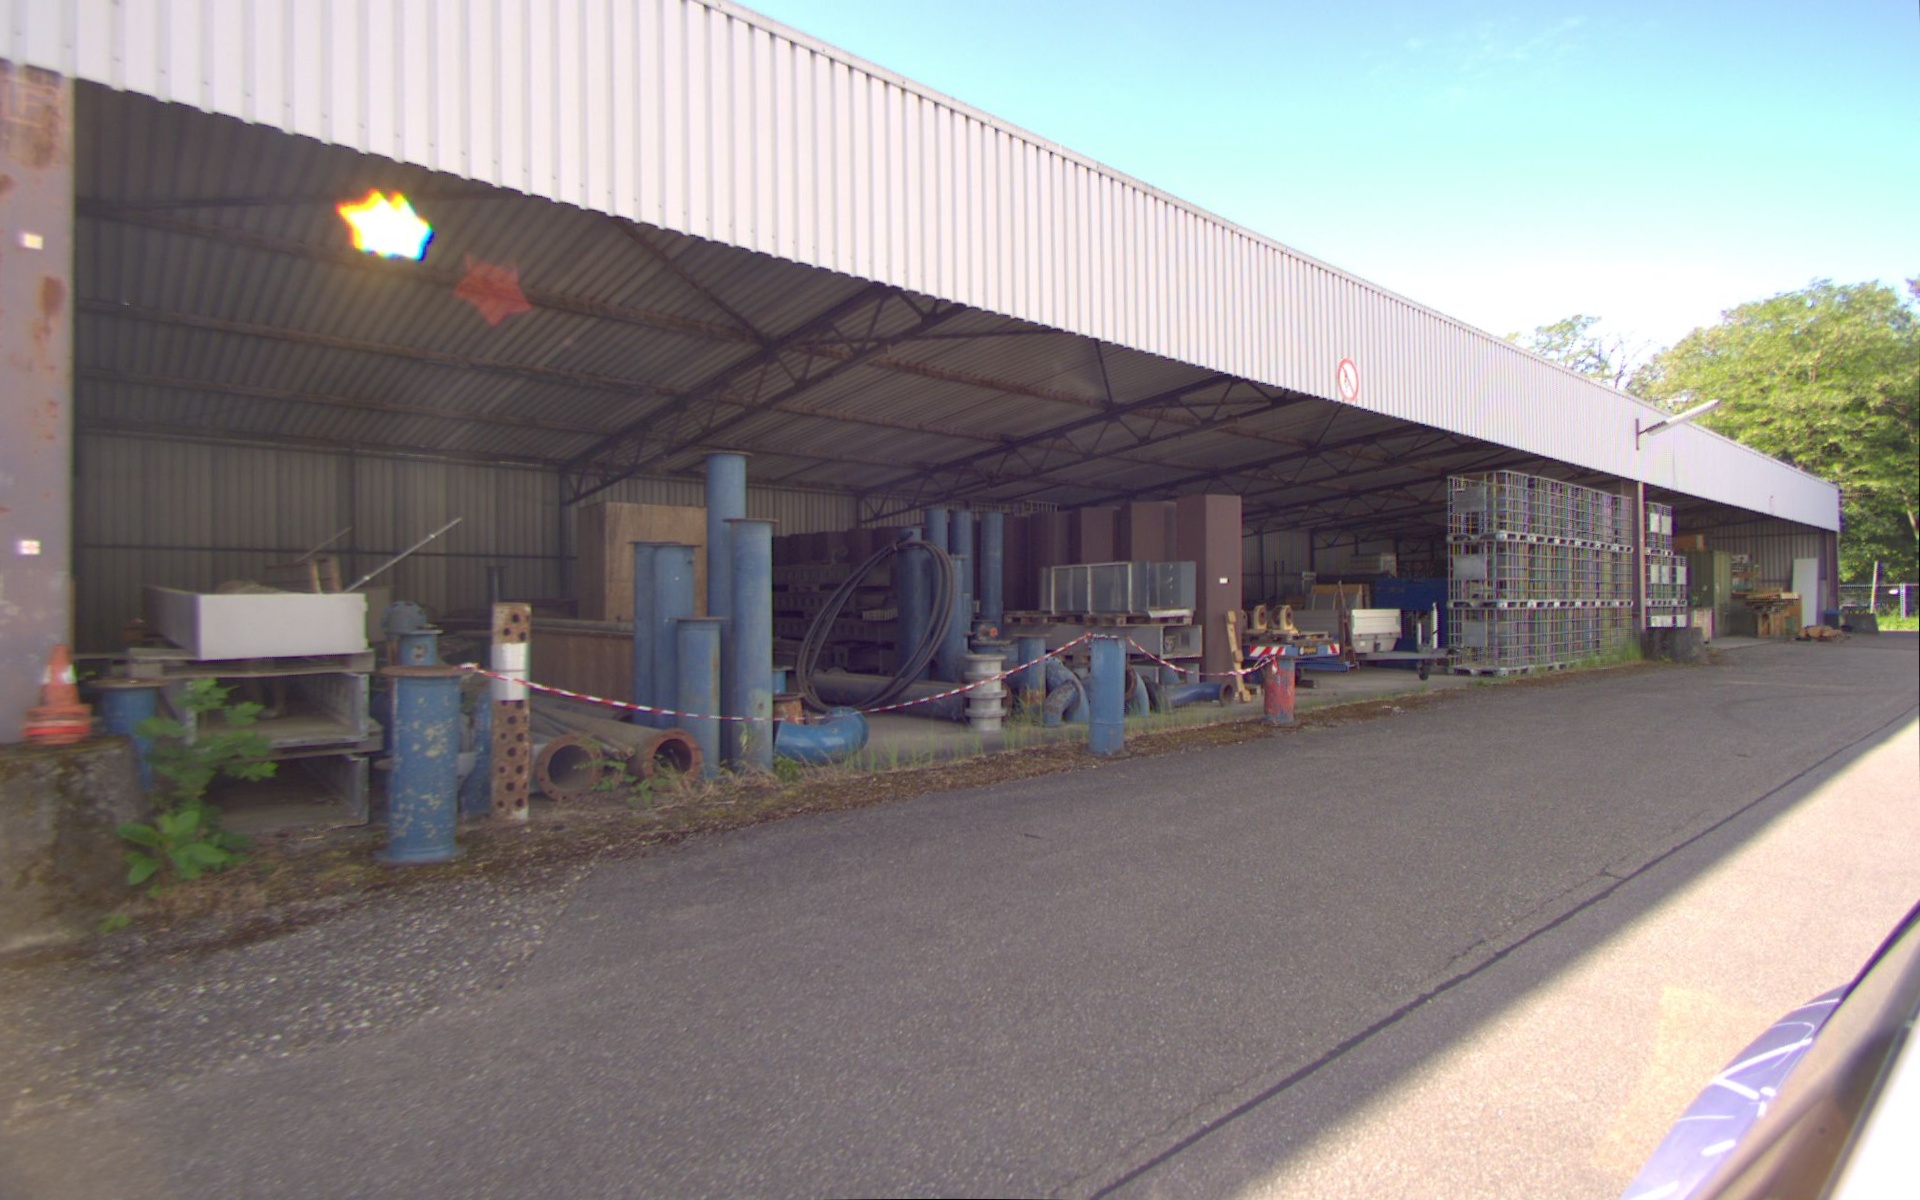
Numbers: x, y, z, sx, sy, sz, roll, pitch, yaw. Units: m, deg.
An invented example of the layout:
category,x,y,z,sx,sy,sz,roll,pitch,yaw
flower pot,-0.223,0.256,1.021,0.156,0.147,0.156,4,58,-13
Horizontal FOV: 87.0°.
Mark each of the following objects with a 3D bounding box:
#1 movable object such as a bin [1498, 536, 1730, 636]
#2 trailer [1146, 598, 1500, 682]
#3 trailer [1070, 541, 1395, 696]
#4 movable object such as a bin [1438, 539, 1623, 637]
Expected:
category,x,y,z,sx,sy,sz,roll,pitch,yaw
movable object such as a bin,21.256,-0.417,33.146,2.770,2.962,5.845,0,0,-40
trailer,6.211,0.596,18.039,1.941,1.200,5.736,-1,1,-42
trailer,4.020,0.197,15.550,2.124,2.015,4.433,-1,1,-39
movable object such as a bin,17.975,-0.346,32.040,2.453,2.867,4.535,0,0,-40
